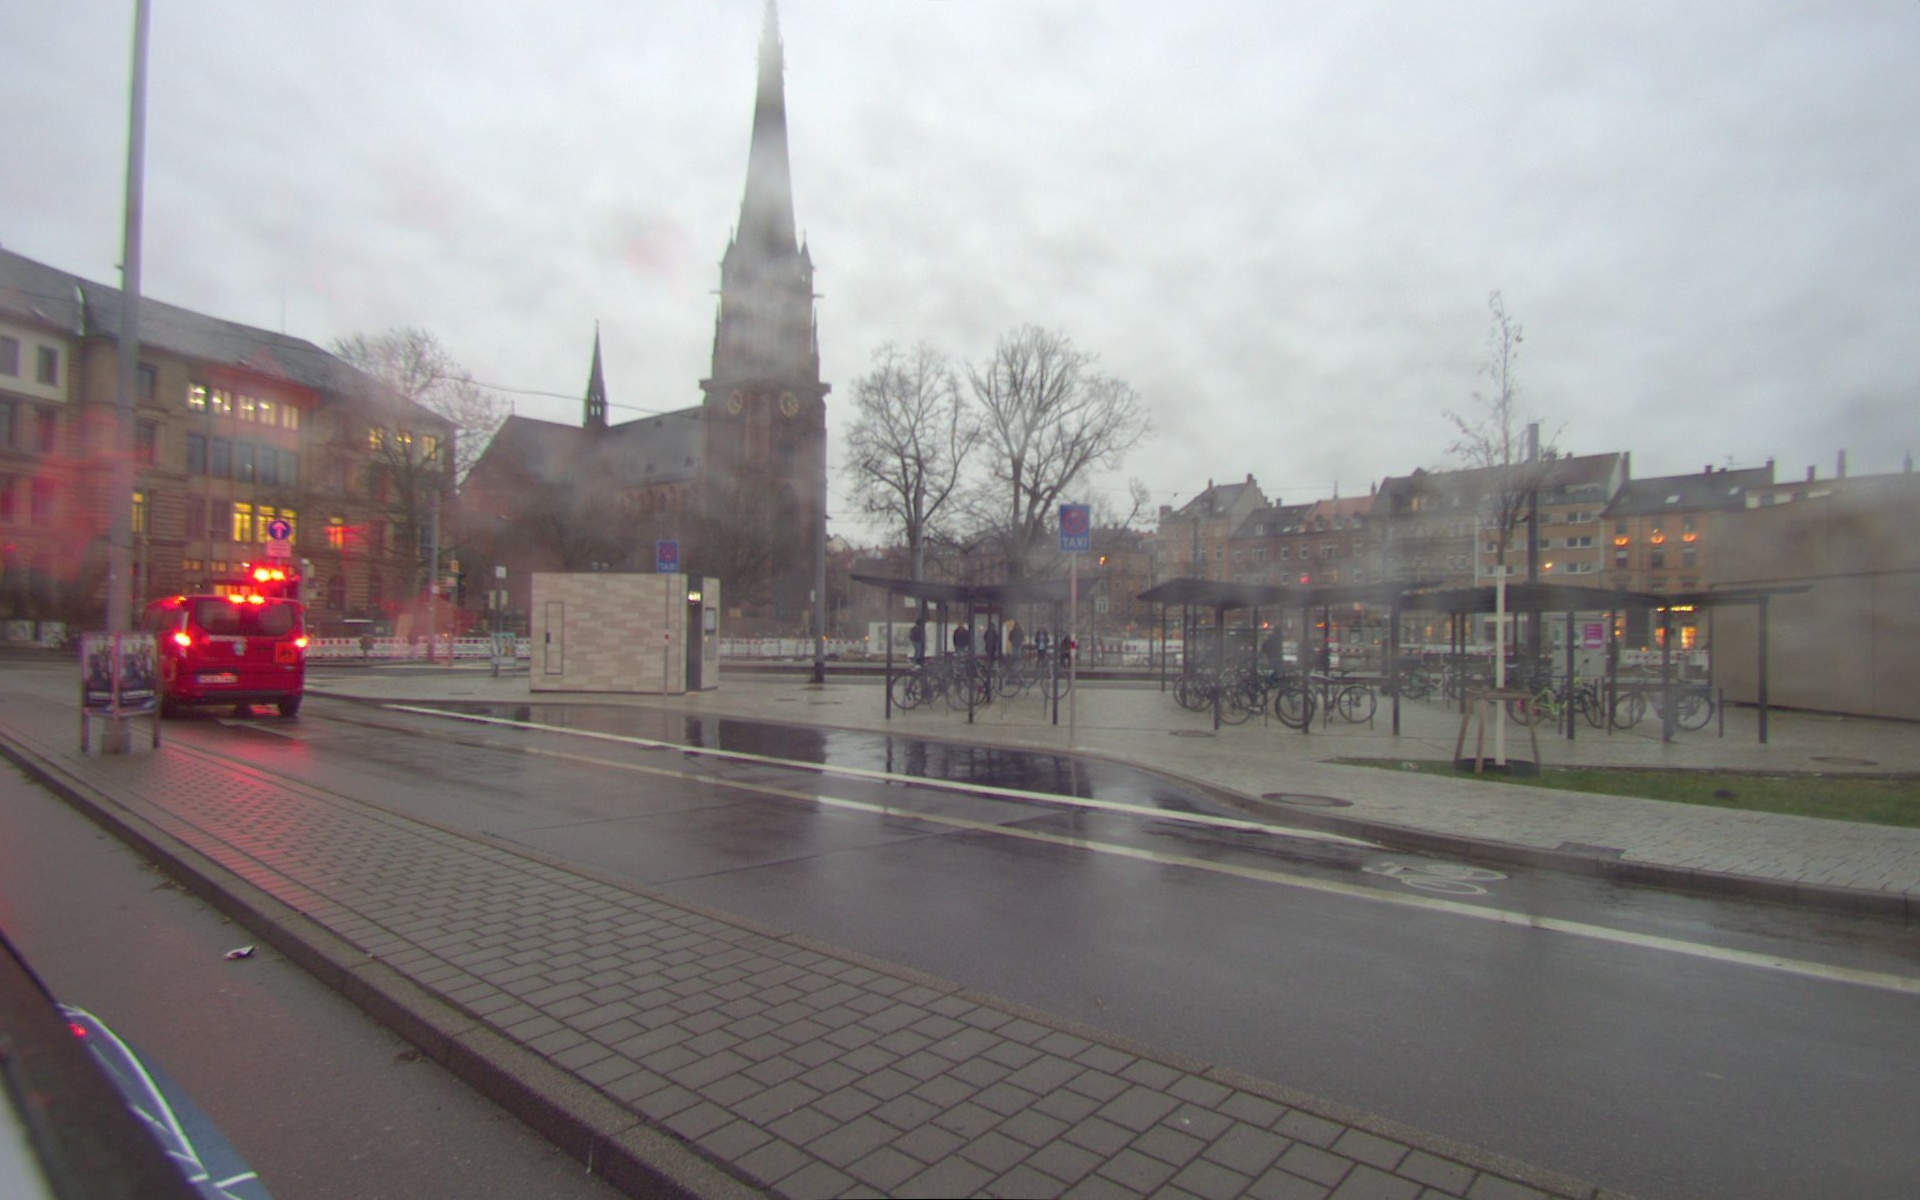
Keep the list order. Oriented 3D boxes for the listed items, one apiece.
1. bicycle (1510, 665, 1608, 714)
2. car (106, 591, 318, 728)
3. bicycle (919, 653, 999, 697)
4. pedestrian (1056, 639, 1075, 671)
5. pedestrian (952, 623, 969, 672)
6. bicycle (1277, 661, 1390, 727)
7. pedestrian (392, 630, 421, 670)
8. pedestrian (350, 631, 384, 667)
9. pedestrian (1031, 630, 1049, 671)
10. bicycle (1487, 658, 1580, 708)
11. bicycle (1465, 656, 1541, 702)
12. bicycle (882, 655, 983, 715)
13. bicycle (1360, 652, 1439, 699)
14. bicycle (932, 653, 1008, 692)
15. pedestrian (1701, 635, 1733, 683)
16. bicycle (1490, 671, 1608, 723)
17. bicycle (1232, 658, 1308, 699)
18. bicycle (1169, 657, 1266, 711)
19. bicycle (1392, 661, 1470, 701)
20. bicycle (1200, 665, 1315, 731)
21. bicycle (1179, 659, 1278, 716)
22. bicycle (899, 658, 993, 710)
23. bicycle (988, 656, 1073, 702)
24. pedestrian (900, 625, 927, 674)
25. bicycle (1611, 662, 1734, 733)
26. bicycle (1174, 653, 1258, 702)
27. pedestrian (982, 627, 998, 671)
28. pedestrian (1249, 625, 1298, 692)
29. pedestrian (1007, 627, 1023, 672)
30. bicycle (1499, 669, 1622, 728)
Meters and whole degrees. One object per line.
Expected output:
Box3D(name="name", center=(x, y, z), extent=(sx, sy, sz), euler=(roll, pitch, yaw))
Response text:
Box3D(name="bicycle", center=(12.901, 1.921, 21.832), extent=(1.751, 0.963, 0.473), euler=(1, -1, 11))
Box3D(name="car", center=(-13.195, 0.995, 17.743), extent=(4.640, 2.086, 1.904), euler=(-1, -4, 40))
Box3D(name="bicycle", center=(-0.014, 1.830, 24.870), extent=(1.905, 0.993, 0.473), euler=(1, -1, 11))
Box3D(name="pedestrian", center=(3.981, 2.074, 38.325), extent=(0.610, 1.165, 0.806), euler=(-1, 0, -1))
Box3D(name="pedestrian", center=(0.005, 1.803, 38.579), extent=(0.619, 1.808, 0.672), euler=(-1, 0, -1))
Box3D(name="bicycle", center=(6.946, 1.736, 18.867), extent=(1.905, 1.129, 0.473), euler=(1, -1, 11))
Box3D(name="pedestrian", center=(-27.097, 2.460, 49.560), extent=(0.960, 1.915, 0.674), euler=(1, -2, -1))
Box3D(name="pedestrian", center=(-27.956, 2.302, 47.716), extent=(1.200, 1.673, 0.768), euler=(-1, 0, 22))
Box3D(name="pedestrian", center=(3.035, 1.912, 38.333), extent=(0.580, 1.513, 0.675), euler=(-1, 0, -1))
Box3D(name="bicycle", center=(13.254, 1.910, 23.418), extent=(1.810, 1.081, 0.474), euler=(1, -1, 8))
Box3D(name="bicycle", center=(13.233, 1.917, 24.665), extent=(1.551, 1.044, 0.521), euler=(1, -1, 1))
Box3D(name="bicycle", center=(-0.538, 1.655, 19.868), extent=(1.905, 1.078, 0.473), euler=(1, -1, 11))
Box3D(name="bicycle", center=(11.185, 1.926, 25.803), extent=(1.780, 1.116, 0.473), euler=(1, -1, 11))
Box3D(name="bicycle", center=(0.272, 1.869, 26.127), extent=(1.905, 0.917, 0.473), euler=(1, -1, 11))
Box3D(name="pedestrian", center=(26.668, 2.065, 35.642), extent=(0.693, 1.679, 0.526), euler=(0, -3, 13))
Box3D(name="bicycle", center=(11.368, 1.863, 19.573), extent=(1.905, 0.898, 0.473), euler=(1, -1, 11))
Box3D(name="bicycle", center=(7.663, 1.943, 25.071), extent=(1.729, 0.946, 0.474), euler=(1, -1, 7))
Box3D(name="bicycle", center=(5.431, 1.774, 21.402), extent=(1.899, 1.078, 0.474), euler=(1, -1, 2))
Box3D(name="bicycle", center=(11.622, 1.993, 24.993), extent=(1.672, 0.898, 0.474), euler=(1, -1, 5))
Box3D(name="bicycle", center=(5.257, 1.721, 17.957), extent=(1.905, 1.078, 0.473), euler=(1, -1, 11))
Box3D(name="bicycle", center=(5.445, 1.776, 20.619), extent=(1.905, 1.078, 0.473), euler=(1, -1, 11))
Box3D(name="bicycle", center=(-0.287, 1.735, 21.105), extent=(1.905, 0.993, 0.473), euler=(1, -1, 11))
Box3D(name="bicycle", center=(1.640, 1.823, 23.424), extent=(1.905, 0.993, 0.473), euler=(1, -1, 11))
Box3D(name="pedestrian", center=(-1.723, 1.826, 37.578), extent=(0.820, 1.808, 0.666), euler=(-1, 0, 19))
Box3D(name="bicycle", center=(12.690, 1.726, 18.047), extent=(1.731, 1.165, 0.617), euler=(1, -1, 1))
Box3D(name="bicycle", center=(6.065, 1.830, 24.041), extent=(1.905, 1.078, 0.473), euler=(1, -1, 11))
Box3D(name="pedestrian", center=(1.149, 1.860, 38.653), extent=(0.556, 1.664, 0.540), euler=(-1, 0, -1))
Box3D(name="pedestrian", center=(8.507, 1.594, 27.525), extent=(1.054, 1.778, 1.010), euler=(0, -3, 6))
Box3D(name="pedestrian", center=(2.069, 1.857, 38.115), extent=(0.543, 1.648, 0.571), euler=(-1, 0, -1))
Box3D(name="bicycle", center=(11.127, 1.815, 18.785), extent=(1.905, 0.983, 0.473), euler=(1, -1, 11))
